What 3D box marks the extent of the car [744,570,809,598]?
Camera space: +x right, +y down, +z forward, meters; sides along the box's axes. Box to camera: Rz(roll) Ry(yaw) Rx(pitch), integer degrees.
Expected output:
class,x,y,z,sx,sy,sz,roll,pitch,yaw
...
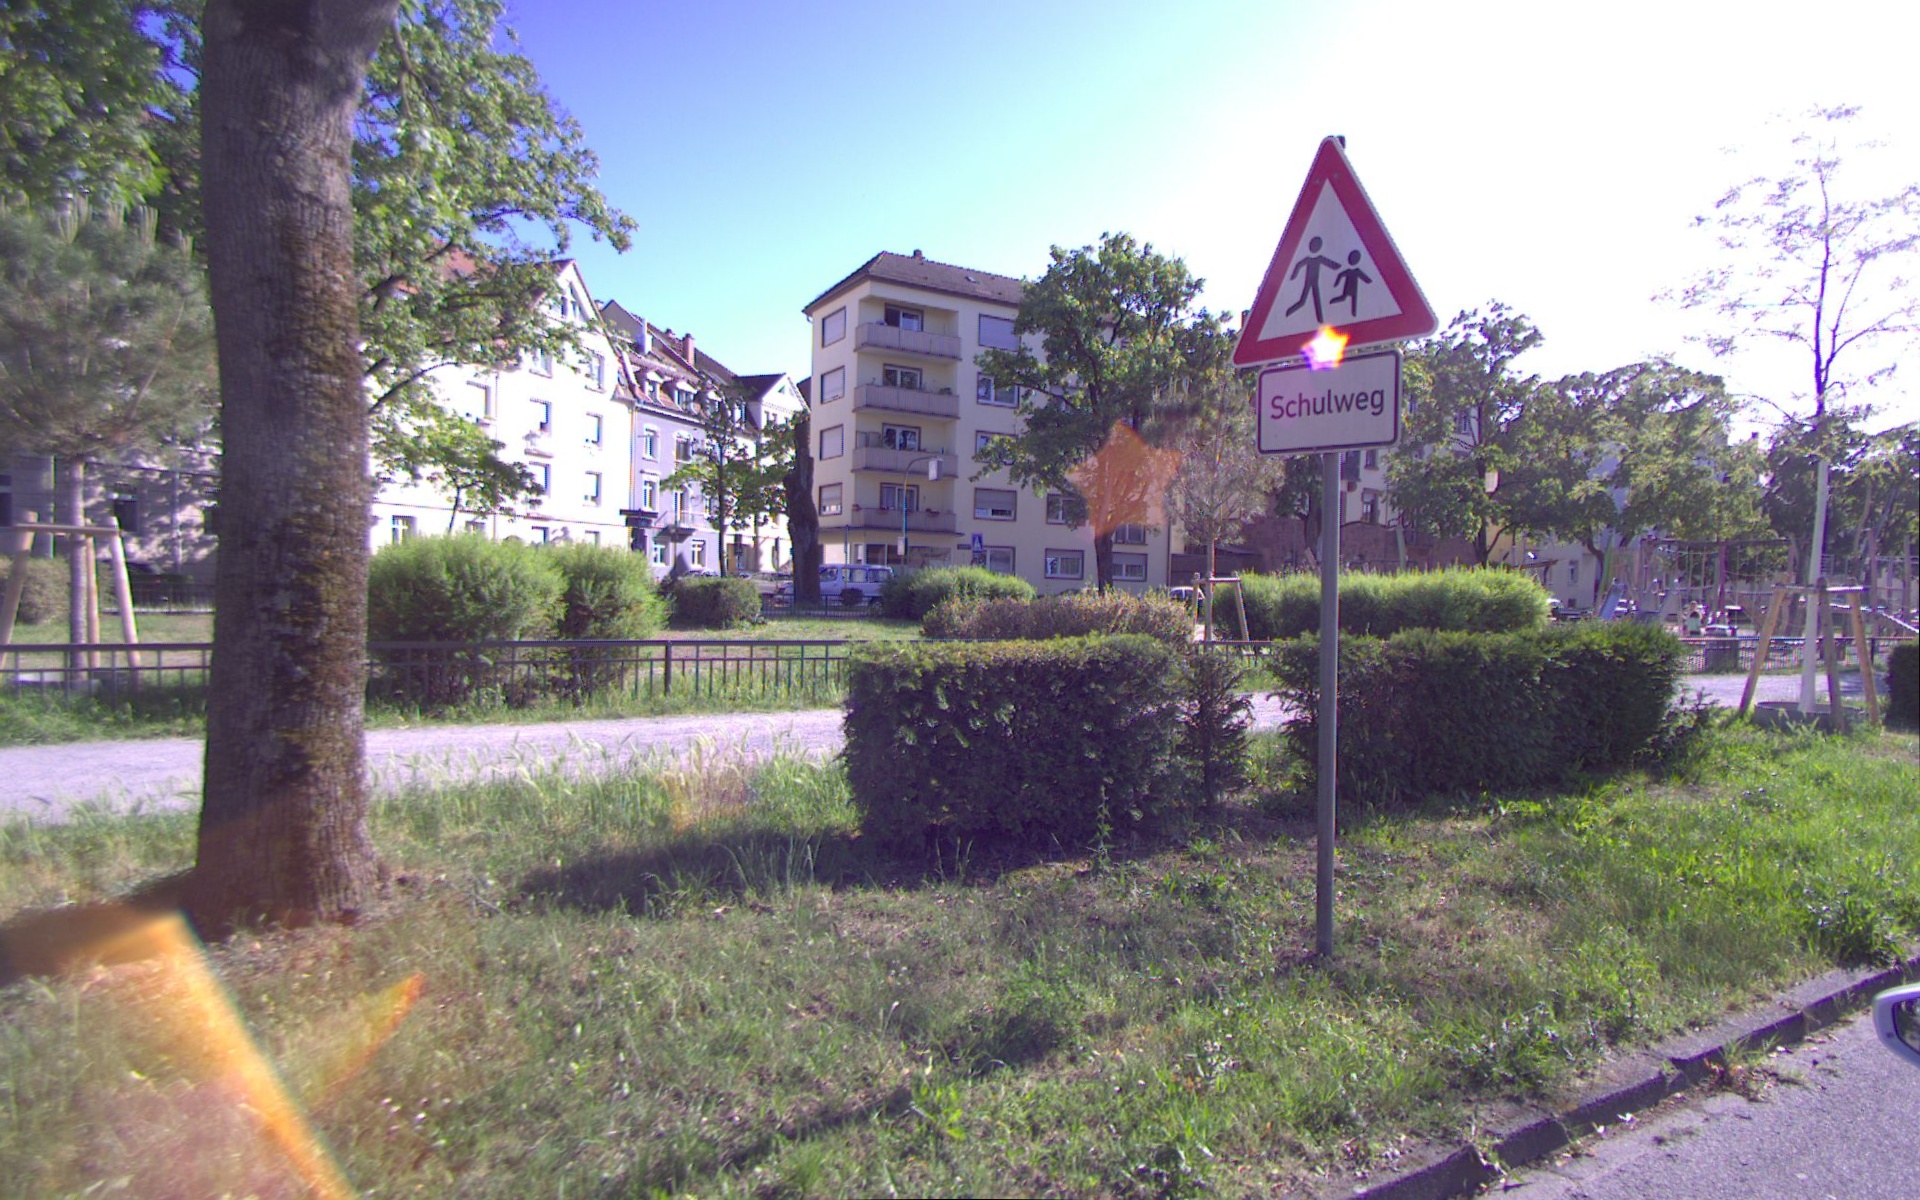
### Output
class,x,y,z,sx,sy,sz,roll,pitch,yaw
car,-10.471,-0.915,57.222,1.787,1.530,3.949,1,0,-43

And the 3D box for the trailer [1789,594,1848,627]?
class,x,y,z,sx,sy,sz,roll,pitch,yaw
trailer,78.893,0.956,92.311,5.736,2.909,2.331,1,2,-31

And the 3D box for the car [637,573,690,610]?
class,x,y,z,sx,sy,sz,roll,pitch,yaw
car,-13.343,-0.404,45.102,1.775,1.530,3.976,1,2,-24

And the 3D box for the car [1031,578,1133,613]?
class,x,y,z,sx,sy,sz,roll,pitch,yaw
car,5.872,-0.198,48.336,4.710,1.530,1.896,1,2,-31

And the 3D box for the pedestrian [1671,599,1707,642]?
class,x,y,z,sx,sy,sz,roll,pitch,yaw
pedestrian,23.601,0.656,32.517,0.639,1.347,0.648,1,2,-12

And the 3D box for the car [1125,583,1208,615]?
class,x,y,z,sx,sy,sz,roll,pitch,yaw
car,10.538,-0.049,51.337,3.953,1.530,1.785,1,2,-30

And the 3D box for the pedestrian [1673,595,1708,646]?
class,x,y,z,sx,sy,sz,roll,pitch,yaw
pedestrian,24.552,0.689,33.770,0.639,1.684,0.648,1,2,-12

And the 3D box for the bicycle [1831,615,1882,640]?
class,x,y,z,sx,sy,sz,roll,pitch,yaw
bicycle,43.610,1.318,48.875,0.494,1.122,1.785,0,2,-31

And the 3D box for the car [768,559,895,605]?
class,x,y,z,sx,sy,sz,roll,pitch,yaw
car,-4.950,-0.686,38.833,4.533,1.657,1.785,1,2,-30
